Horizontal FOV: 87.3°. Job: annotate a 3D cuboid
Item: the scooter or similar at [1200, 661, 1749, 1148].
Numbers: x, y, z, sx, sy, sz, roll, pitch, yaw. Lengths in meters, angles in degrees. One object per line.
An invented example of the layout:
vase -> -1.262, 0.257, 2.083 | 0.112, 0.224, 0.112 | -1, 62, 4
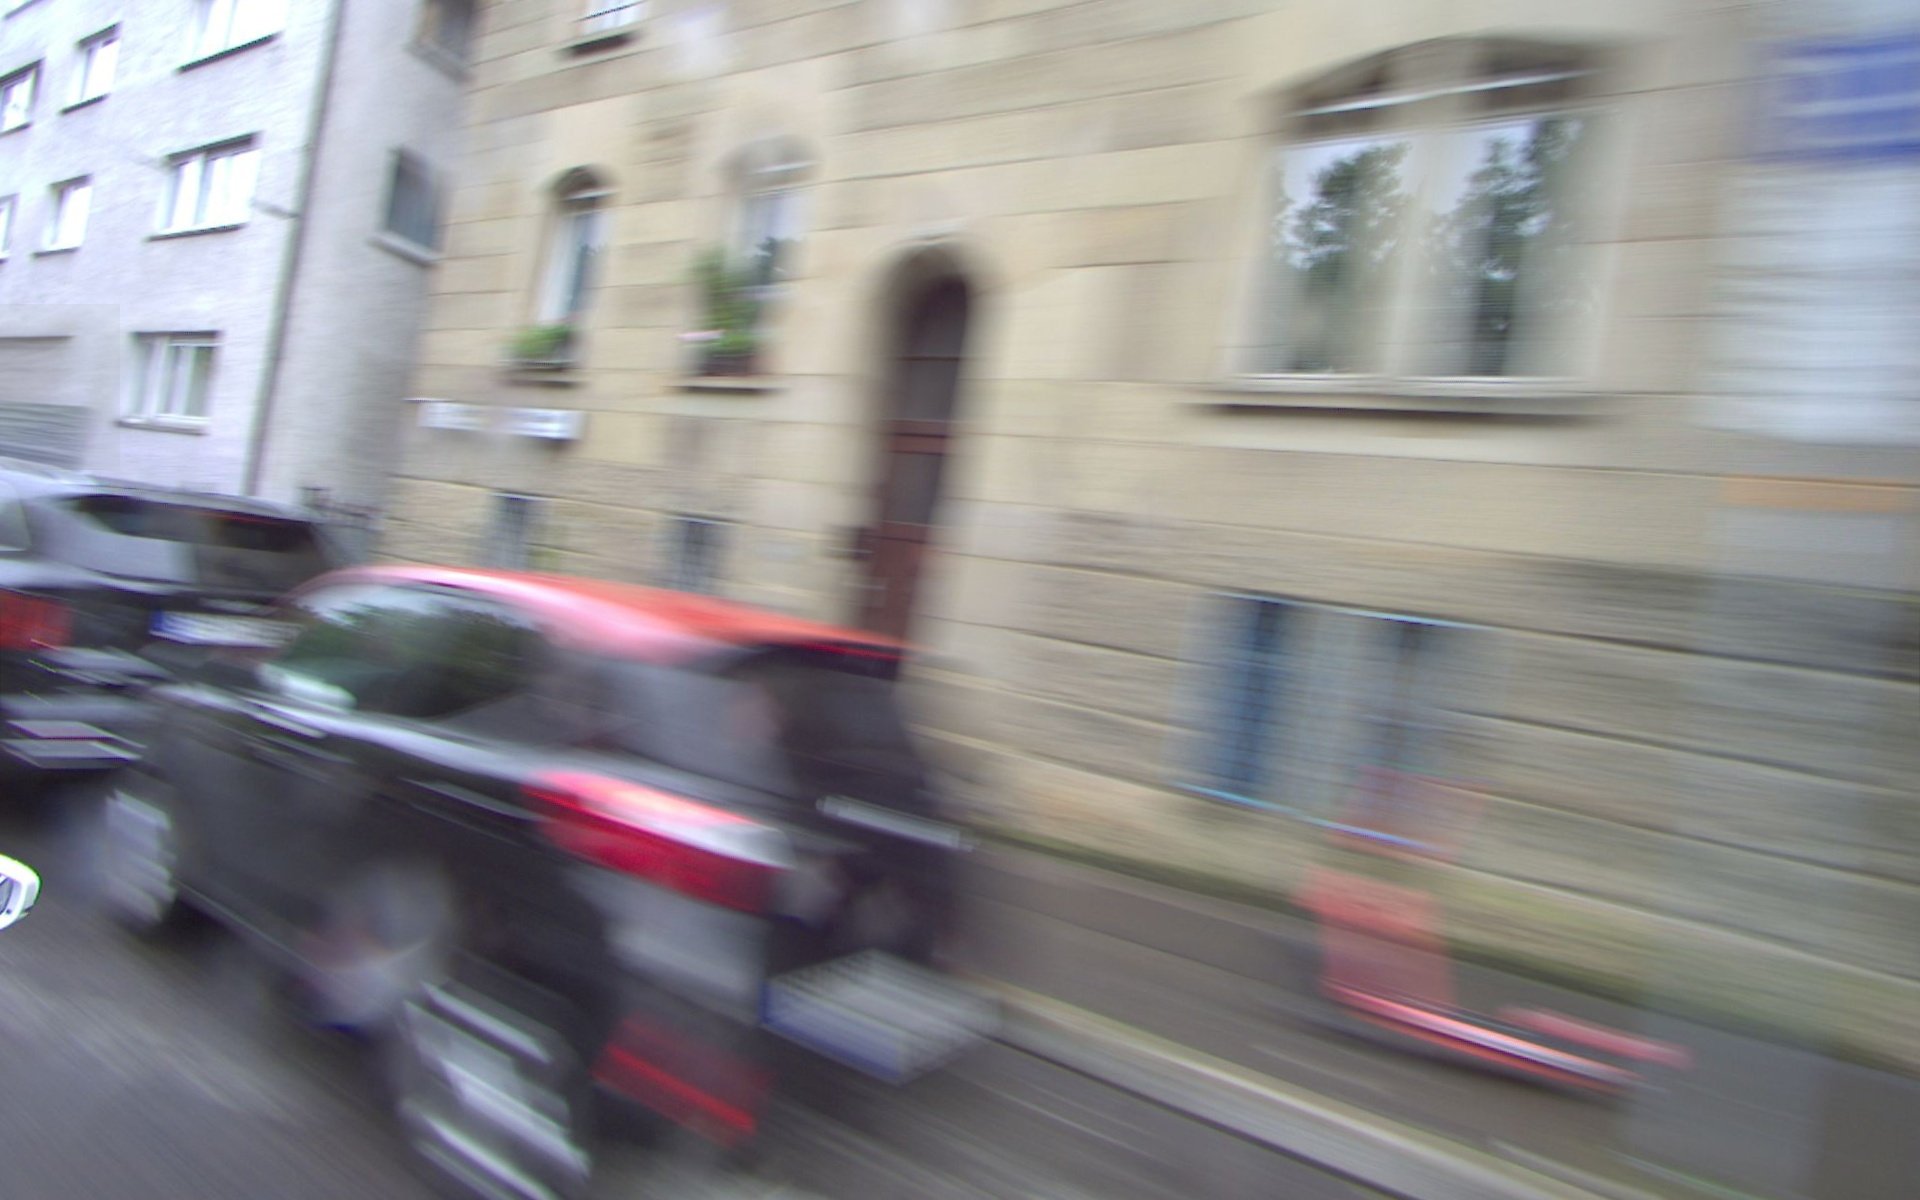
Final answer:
scooter or similar -> 1.760, 1.002, 3.641 | 1.539, 1.331, 0.367 | 8, 1, 19

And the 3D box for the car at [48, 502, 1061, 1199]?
car -> -1.664, 0.598, 3.681 | 3.553, 1.468, 1.663 | 7, -3, 36

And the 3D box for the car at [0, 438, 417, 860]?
car -> -5.386, 0.081, 5.942 | 4.426, 1.728, 1.769 | 7, -2, 33
